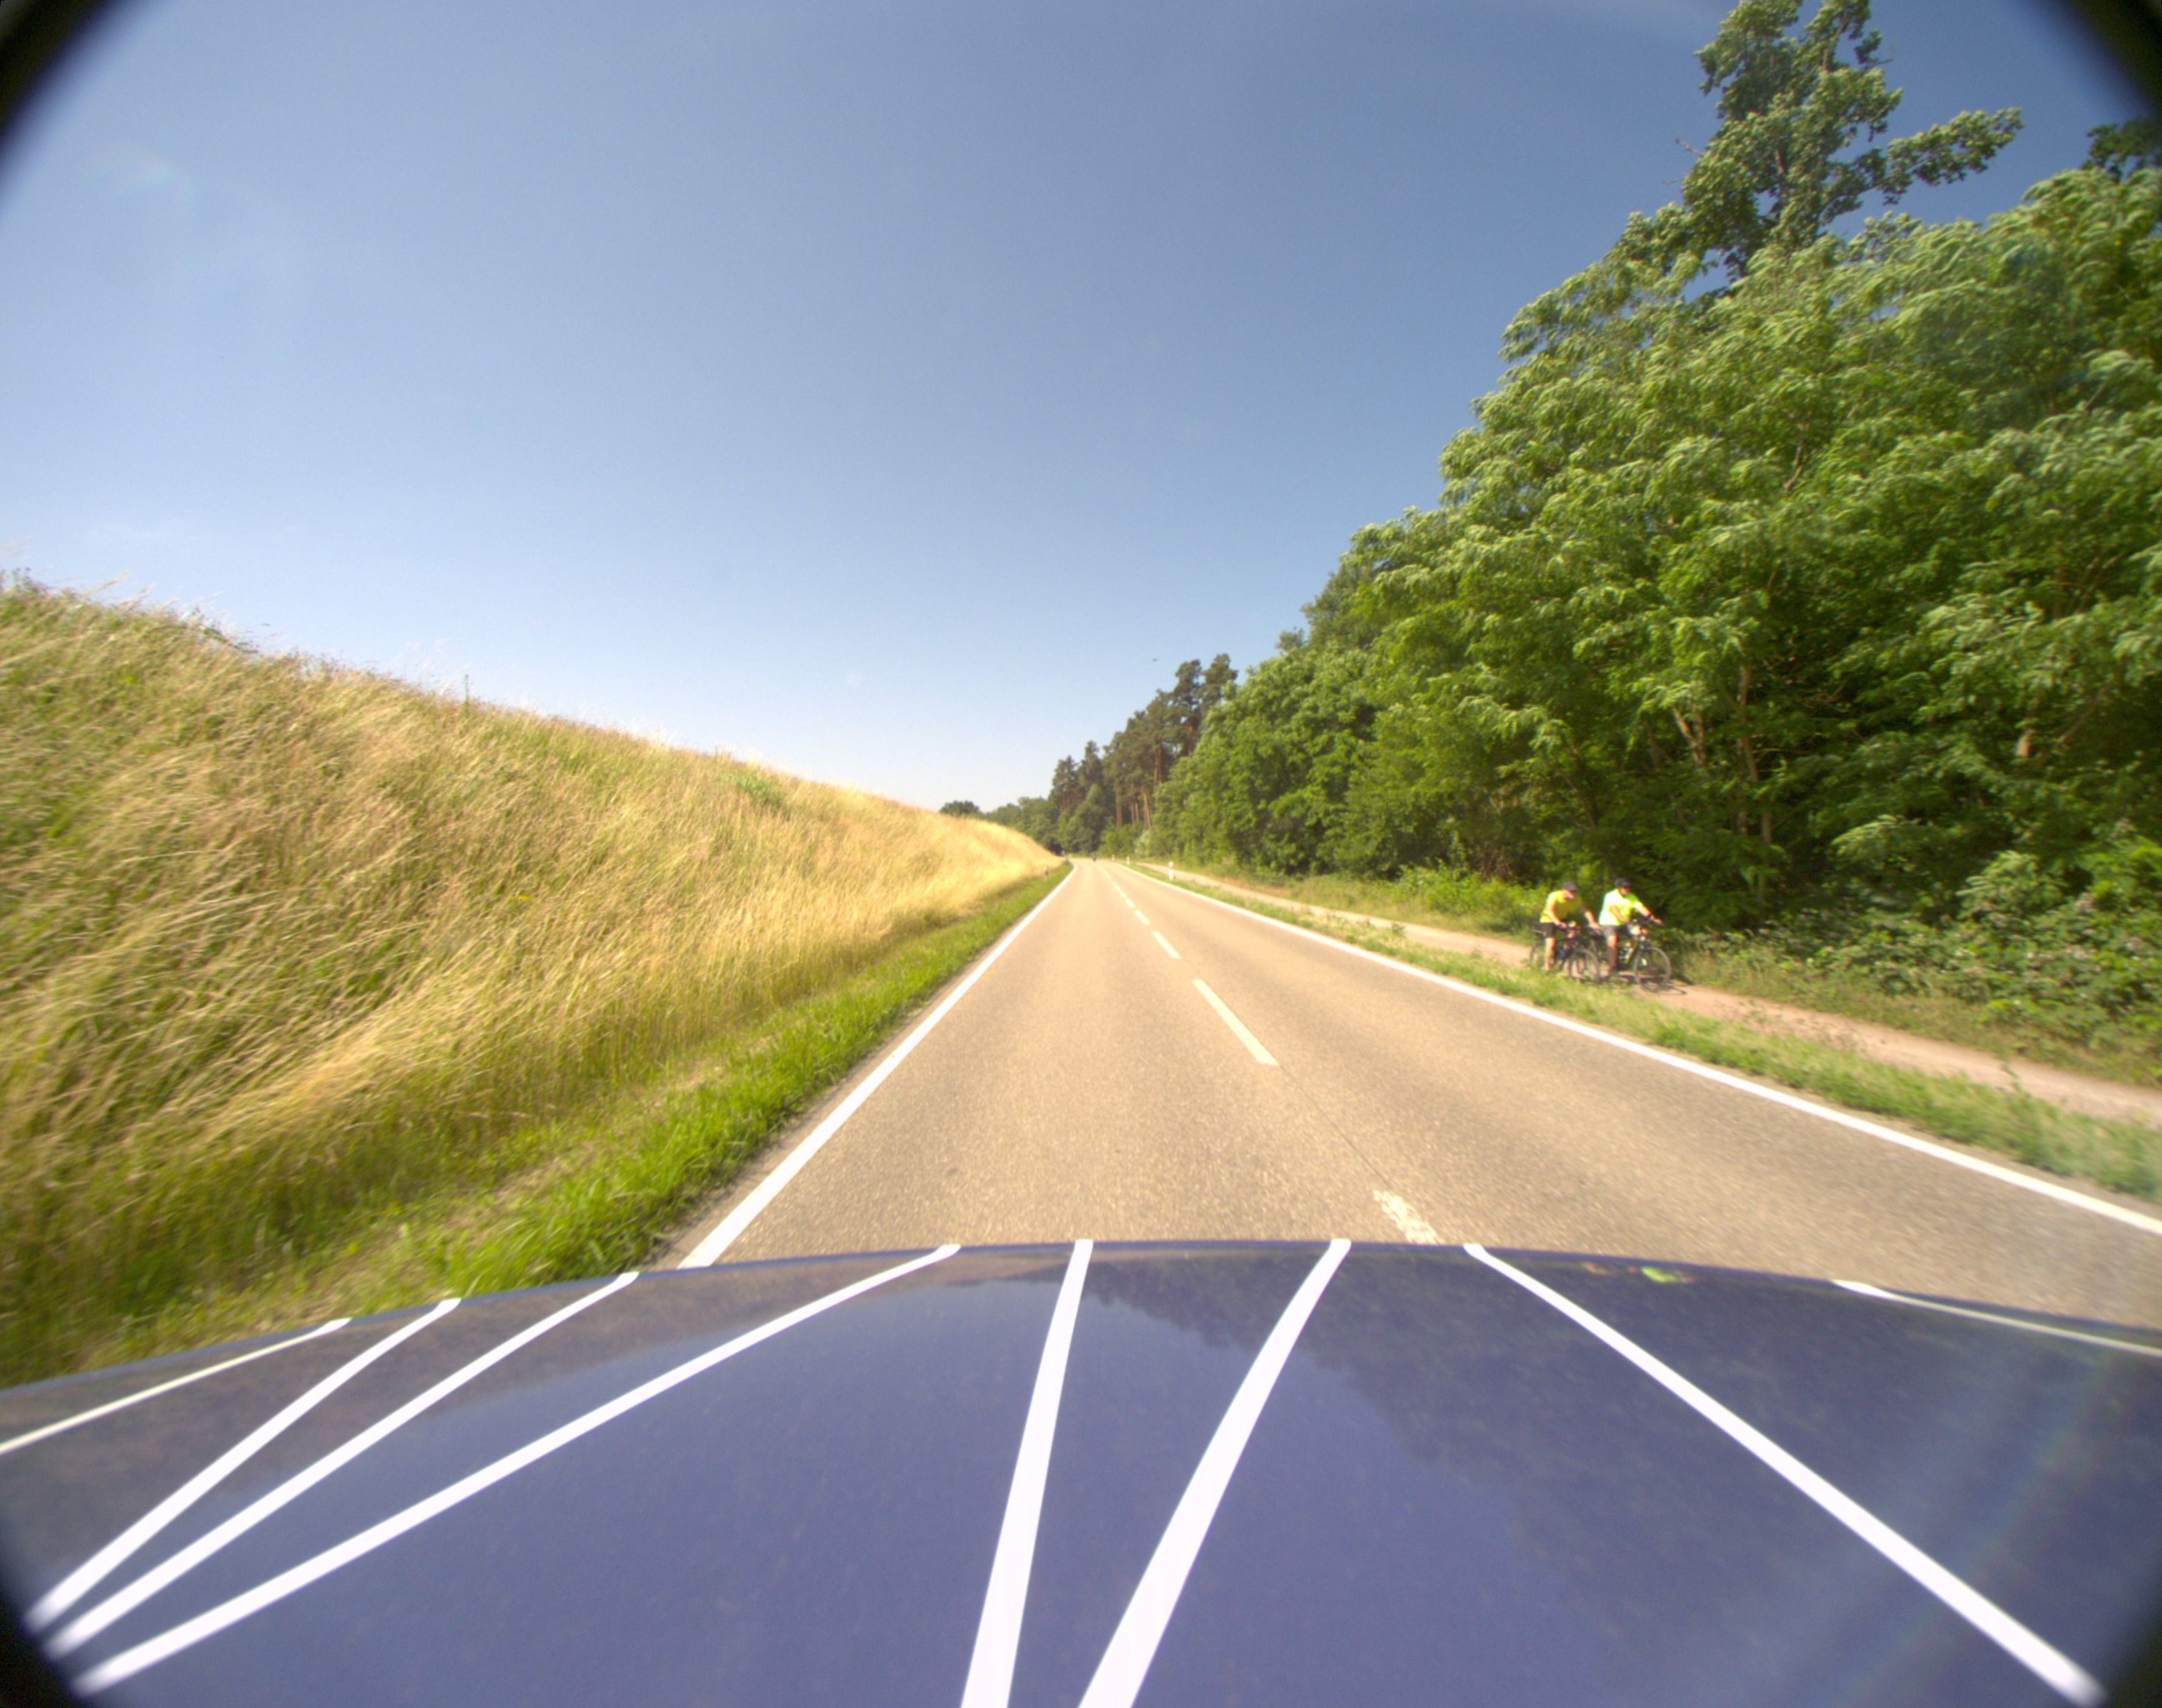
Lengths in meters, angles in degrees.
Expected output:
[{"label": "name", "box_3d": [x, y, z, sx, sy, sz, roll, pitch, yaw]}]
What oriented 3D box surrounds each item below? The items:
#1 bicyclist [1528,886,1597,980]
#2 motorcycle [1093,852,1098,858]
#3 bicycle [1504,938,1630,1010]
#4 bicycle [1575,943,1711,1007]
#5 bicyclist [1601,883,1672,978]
[{"label": "bicyclist", "box_3d": [7.709, 1.243, 12.191, 0.606, 1.407, 0.702, 2, 1, 0]}, {"label": "motorcycle", "box_3d": [2.407, 0.122, 127.930, 0.640, 0.979, 2.006, 2, 0, -2]}, {"label": "bicycle", "box_3d": [7.693, 1.868, 12.165, 0.641, 0.783, 2.137, 2, 0, 1]}, {"label": "bicycle", "box_3d": [8.906, 1.892, 12.172, 0.620, 0.677, 2.137, 0, 0, 1]}, {"label": "bicyclist", "box_3d": [8.898, 1.206, 12.186, 0.606, 1.408, 0.702, -3, 3, 1]}]
